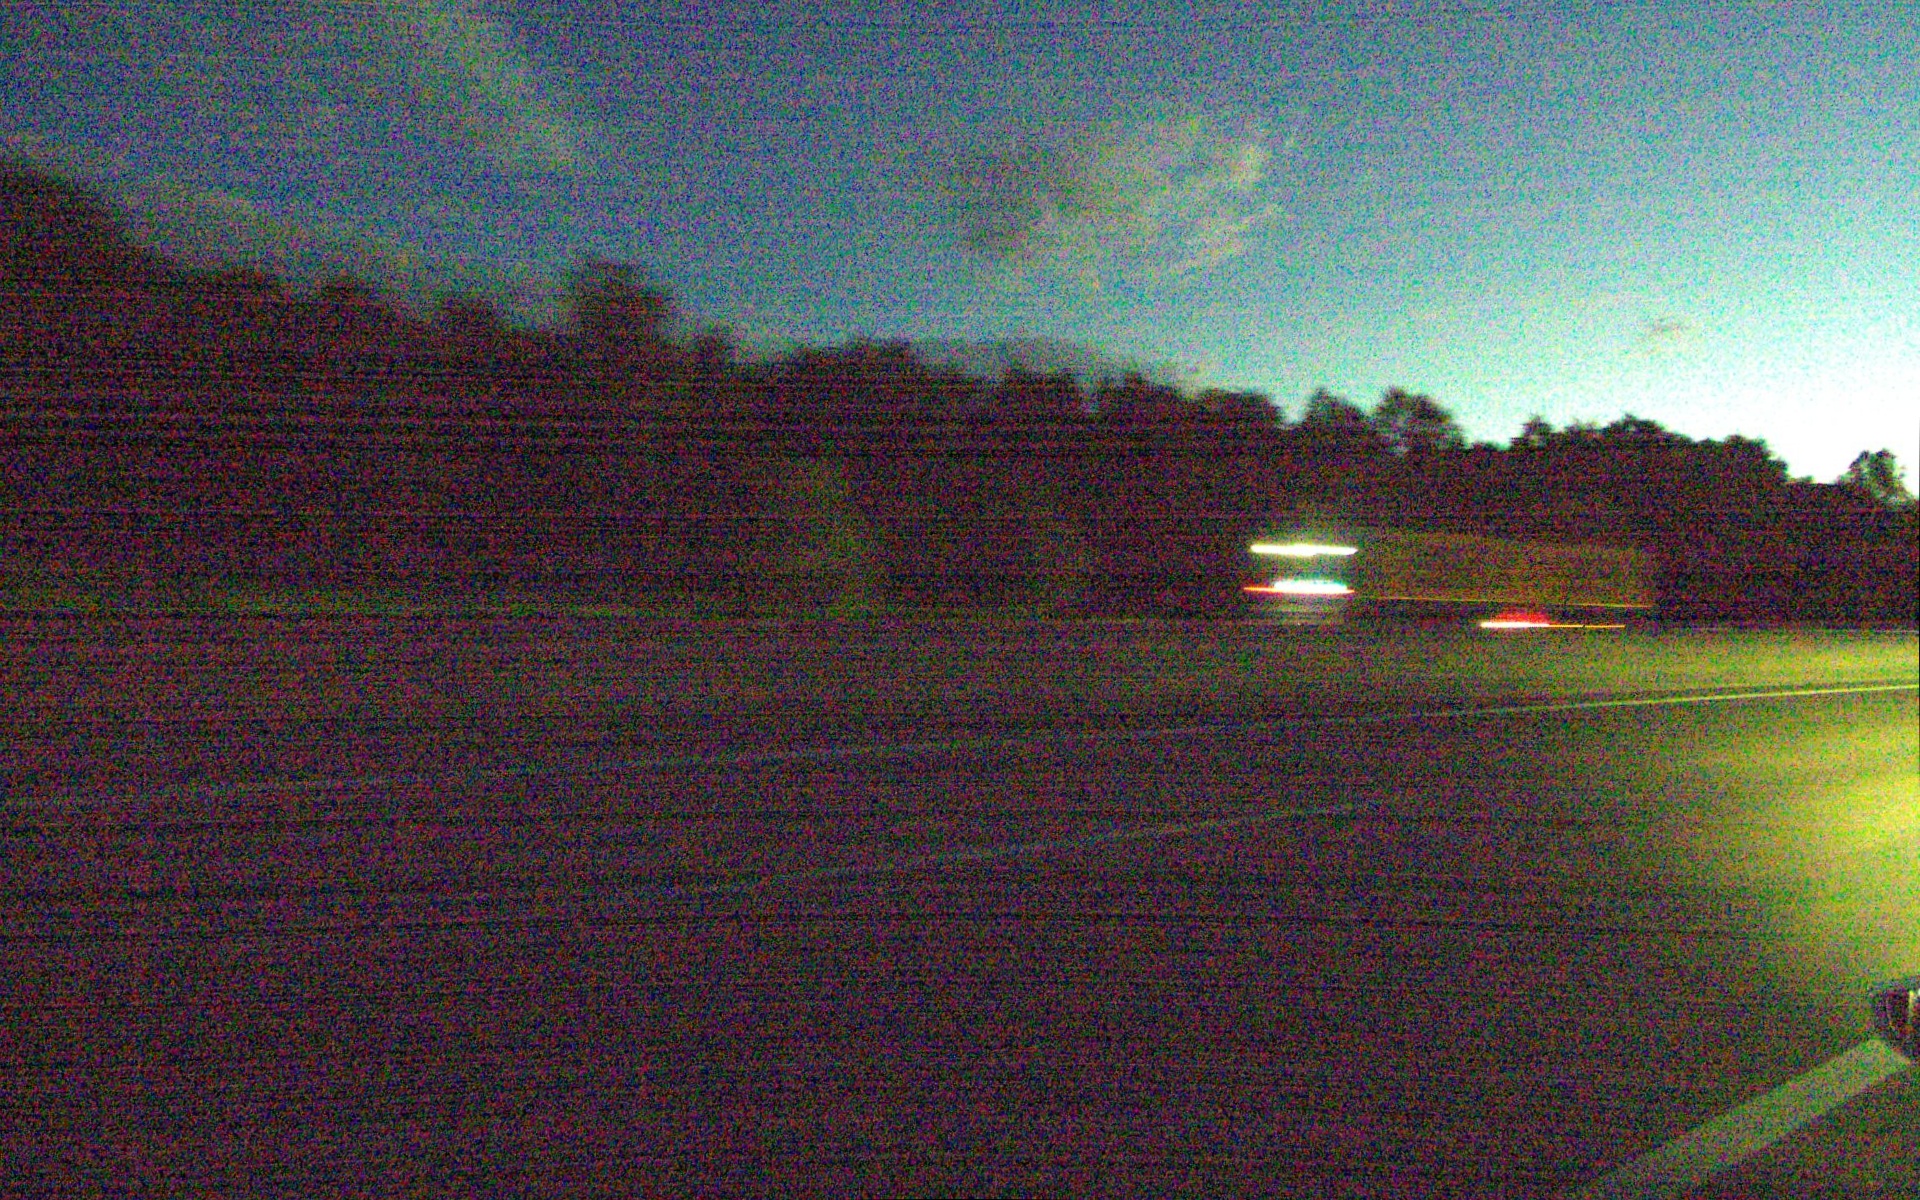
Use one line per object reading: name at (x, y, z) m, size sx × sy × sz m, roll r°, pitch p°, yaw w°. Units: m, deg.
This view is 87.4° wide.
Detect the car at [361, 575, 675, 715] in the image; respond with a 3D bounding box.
car at (-5.990, 0.592, 13.702) m, size 3.700 × 1.667 × 1.736 m, roll 2°, pitch -1°, yaw -31°

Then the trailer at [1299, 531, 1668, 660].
trailer at (20.030, 0.108, 37.456) m, size 17.077 × 4.053 × 3.527 m, roll 2°, pitch -1°, yaw -30°

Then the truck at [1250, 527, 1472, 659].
truck at (13.454, -0.121, 33.667) m, size 6.618 × 4.023 × 3.487 m, roll 2°, pitch -1°, yaw -29°
